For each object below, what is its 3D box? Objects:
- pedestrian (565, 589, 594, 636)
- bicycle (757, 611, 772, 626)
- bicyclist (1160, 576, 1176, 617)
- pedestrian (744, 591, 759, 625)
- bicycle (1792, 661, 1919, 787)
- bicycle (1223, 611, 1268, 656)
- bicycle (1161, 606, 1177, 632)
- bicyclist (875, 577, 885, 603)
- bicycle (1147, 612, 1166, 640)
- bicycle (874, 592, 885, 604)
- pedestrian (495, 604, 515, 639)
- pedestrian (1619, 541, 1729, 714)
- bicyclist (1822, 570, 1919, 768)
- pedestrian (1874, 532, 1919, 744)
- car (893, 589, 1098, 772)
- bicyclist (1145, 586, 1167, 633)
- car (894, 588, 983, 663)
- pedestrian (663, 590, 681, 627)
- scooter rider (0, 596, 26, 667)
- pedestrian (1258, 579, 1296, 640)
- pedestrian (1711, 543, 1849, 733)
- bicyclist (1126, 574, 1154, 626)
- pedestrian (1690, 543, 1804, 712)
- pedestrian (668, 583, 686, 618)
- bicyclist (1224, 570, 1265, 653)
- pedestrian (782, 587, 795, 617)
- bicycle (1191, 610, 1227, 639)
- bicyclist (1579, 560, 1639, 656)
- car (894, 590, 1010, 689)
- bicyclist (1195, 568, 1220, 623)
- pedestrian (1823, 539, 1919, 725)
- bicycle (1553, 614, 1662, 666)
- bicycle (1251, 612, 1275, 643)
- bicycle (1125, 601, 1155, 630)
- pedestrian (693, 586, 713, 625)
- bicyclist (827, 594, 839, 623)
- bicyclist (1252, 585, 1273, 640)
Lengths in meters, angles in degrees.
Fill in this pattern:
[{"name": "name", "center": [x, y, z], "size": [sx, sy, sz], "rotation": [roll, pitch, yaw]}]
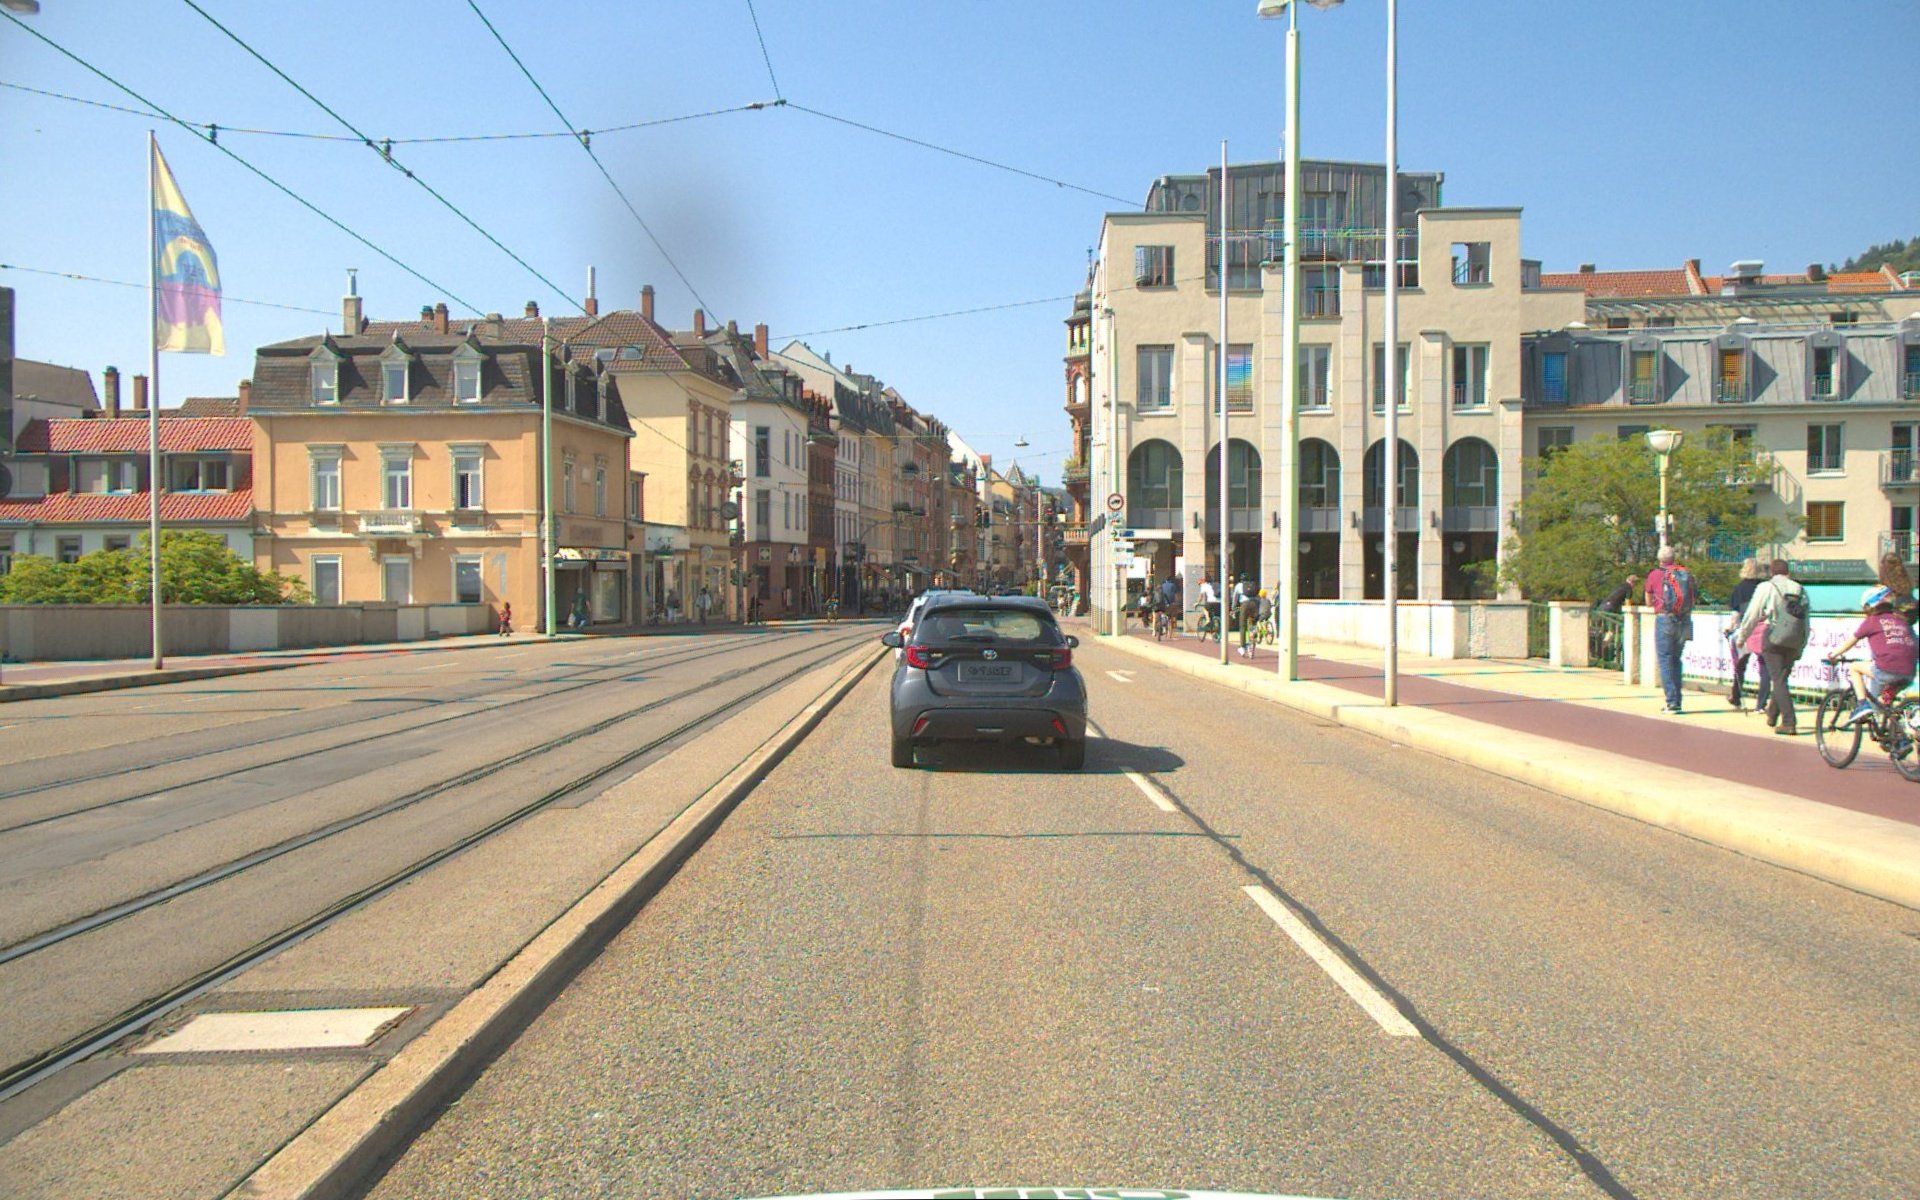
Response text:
[{"name": "pedestrian", "center": [-14.127, 0.449, 61.348], "size": [0.746, 1.682, 0.712], "rotation": [4, 0, 6]}, {"name": "bicycle", "center": [-10.558, 1.000, 89.321], "size": [0.607, 0.728, 1.771], "rotation": [1, 1, 0]}, {"name": "bicyclist", "center": [6.494, -0.114, 51.605], "size": [0.413, 1.278, 0.443], "rotation": [-2, 0, 2]}, {"name": "pedestrian", "center": [-11.229, 0.412, 89.242], "size": [0.721, 1.797, 0.787], "rotation": [0, 1, -1]}, {"name": "bicycle", "center": [6.809, 0.879, 12.185], "size": [0.503, 0.779, 1.660], "rotation": [-2, 0, 0]}, {"name": "bicycle", "center": [6.062, 0.707, 35.188], "size": [0.689, 0.898, 1.525], "rotation": [-1, 0, 0]}, {"name": "bicycle", "center": [6.516, 0.589, 51.588], "size": [0.407, 0.779, 0.962], "rotation": [-2, 0, 3]}, {"name": "bicyclist", "center": [-5.289, -0.670, 109.729], "size": [0.614, 1.679, 0.622], "rotation": [1, 1, 0]}, {"name": "bicycle", "center": [5.734, 0.751, 48.297], "size": [0.408, 0.779, 1.206], "rotation": [-2, 0, 2]}, {"name": "bicycle", "center": [-5.322, -0.133, 109.741], "size": [0.607, 0.728, 1.731], "rotation": [1, 1, 0]}, {"name": "pedestrian", "center": [-15.740, 0.734, 57.243], "size": [0.403, 1.166, 0.545], "rotation": [4, 0, 5]}, {"name": "pedestrian", "center": [7.898, 0.294, 18.335], "size": [0.724, 1.833, 1.015], "rotation": [-2, 0, -1]}, {"name": "bicyclist", "center": [6.796, 0.489, 12.152], "size": [0.523, 1.407, 0.669], "rotation": [-2, 0, -1]}, {"name": "pedestrian", "center": [8.670, 0.309, 14.165], "size": [0.957, 1.808, 1.207], "rotation": [-2, 0, -1]}, {"name": "car", "center": [0.273, 0.668, 15.665], "size": [1.685, 1.499, 3.657], "rotation": [1, 0, -1]}, {"name": "bicyclist", "center": [5.729, 0.281, 48.305], "size": [0.527, 1.339, 0.672], "rotation": [-2, 0, 2]}, {"name": "car", "center": [-0.482, 0.533, 36.908], "size": [1.858, 1.557, 3.999], "rotation": [1, 0, -1]}, {"name": "pedestrian", "center": [-12.982, 0.380, 74.514], "size": [0.636, 1.629, 0.566], "rotation": [4, 2, 0]}, {"name": "scooter rider", "center": [-18.757, 0.601, 32.161], "size": [0.752, 1.338, 0.598], "rotation": [4, 0, 11]}, {"name": "pedestrian", "center": [8.842, 0.269, 46.163], "size": [0.724, 1.642, 1.015], "rotation": [4, 0, -1]}, {"name": "pedestrian", "center": [7.892, 0.353, 15.954], "size": [0.739, 1.748, 1.073], "rotation": [-2, 0, -1]}, {"name": "bicyclist", "center": [9.075, 0.006, 83.511], "size": [1.203, 2.573, 1.105], "rotation": [1, 0, -1]}, {"name": "pedestrian", "center": [8.769, 0.300, 18.455], "size": [0.724, 1.808, 1.015], "rotation": [-2, 0, -1]}, {"name": "pedestrian", "center": [-13.640, 0.006, 79.726], "size": [0.636, 1.629, 0.566], "rotation": [4, 2, 0]}, {"name": "bicyclist", "center": [6.058, 0.234, 35.251], "size": [0.687, 1.725, 0.924], "rotation": [-1, 0, 0]}, {"name": "pedestrian", "center": [-10.487, 0.141, 100.935], "size": [0.721, 1.797, 0.787], "rotation": [0, 1, -1]}, {"name": "bicycle", "center": [6.831, 0.683, 45.420], "size": [0.414, 0.779, 0.948], "rotation": [-2, 0, -39]}, {"name": "bicyclist", "center": [11.981, 0.138, 30.559], "size": [0.902, 1.725, 1.144], "rotation": [1, 0, 16]}, {"name": "car", "center": [-0.157, 0.636, 28.724], "size": [1.858, 1.557, 3.999], "rotation": [1, 0, -1]}, {"name": "bicyclist", "center": [6.802, -0.122, 45.423], "size": [0.480, 1.492, 0.437], "rotation": [-2, 0, -40]}, {"name": "pedestrian", "center": [9.255, 0.299, 16.470], "size": [0.724, 1.777, 1.015], "rotation": [-2, 0, -1]}, {"name": "bicycle", "center": [11.942, 0.729, 30.566], "size": [1.783, 0.898, 0.801], "rotation": [1, 0, 15]}, {"name": "bicycle", "center": [7.849, 0.714, 42.849], "size": [0.408, 0.779, 0.961], "rotation": [-2, 0, 0]}, {"name": "bicycle", "center": [9.073, 0.771, 83.627], "size": [1.089, 1.445, 3.006], "rotation": [1, 0, -2]}, {"name": "pedestrian", "center": [-12.295, 0.279, 79.133], "size": [0.721, 1.797, 0.787], "rotation": [4, 0, 0]}, {"name": "bicyclist", "center": [-7.373, 0.486, 96.259], "size": [0.614, 1.679, 0.622], "rotation": [1, 1, 0]}, {"name": "bicyclist", "center": [7.830, 0.320, 42.862], "size": [0.413, 1.407, 0.443], "rotation": [-2, 0, -1]}]
